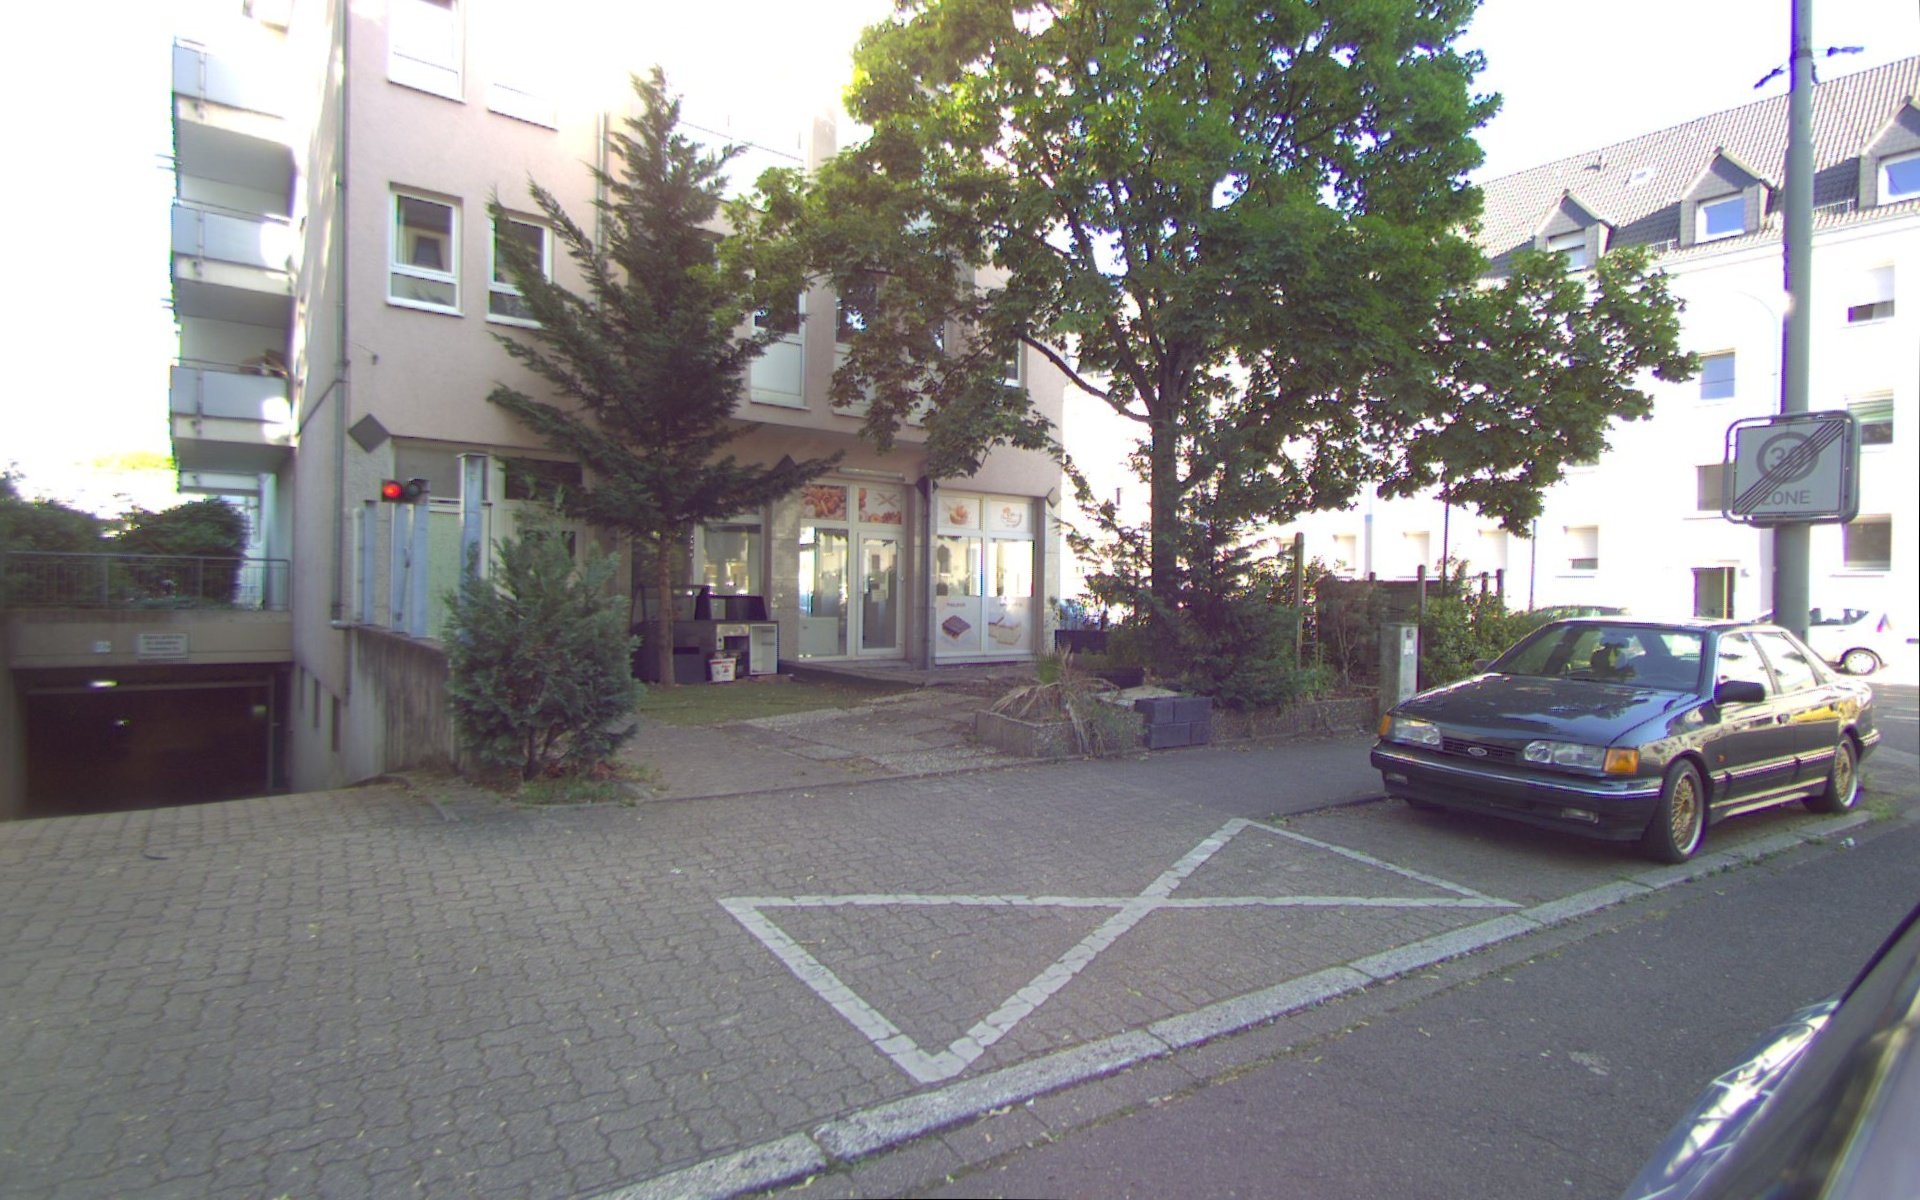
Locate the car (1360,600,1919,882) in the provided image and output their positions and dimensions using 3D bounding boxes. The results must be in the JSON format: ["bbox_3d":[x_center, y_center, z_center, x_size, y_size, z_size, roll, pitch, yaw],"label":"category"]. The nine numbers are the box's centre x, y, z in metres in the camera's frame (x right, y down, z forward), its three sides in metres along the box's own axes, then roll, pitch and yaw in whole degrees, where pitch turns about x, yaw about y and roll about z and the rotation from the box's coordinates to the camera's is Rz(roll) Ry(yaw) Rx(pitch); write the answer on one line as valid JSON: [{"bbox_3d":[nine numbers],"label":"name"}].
[{"bbox_3d":[5.023,0.743,7.261,4.481,1.405,1.715,0,2,-33],"label":"car"}]

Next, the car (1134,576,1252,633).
[{"bbox_3d":[8.723,0.102,38.154,1.760,1.995,4.152,-2,2,-38],"label":"car"}]

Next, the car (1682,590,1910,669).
[{"bbox_3d":[19.744,0.618,24.032,1.729,1.590,3.901,-4,3,-38],"label":"car"}]
